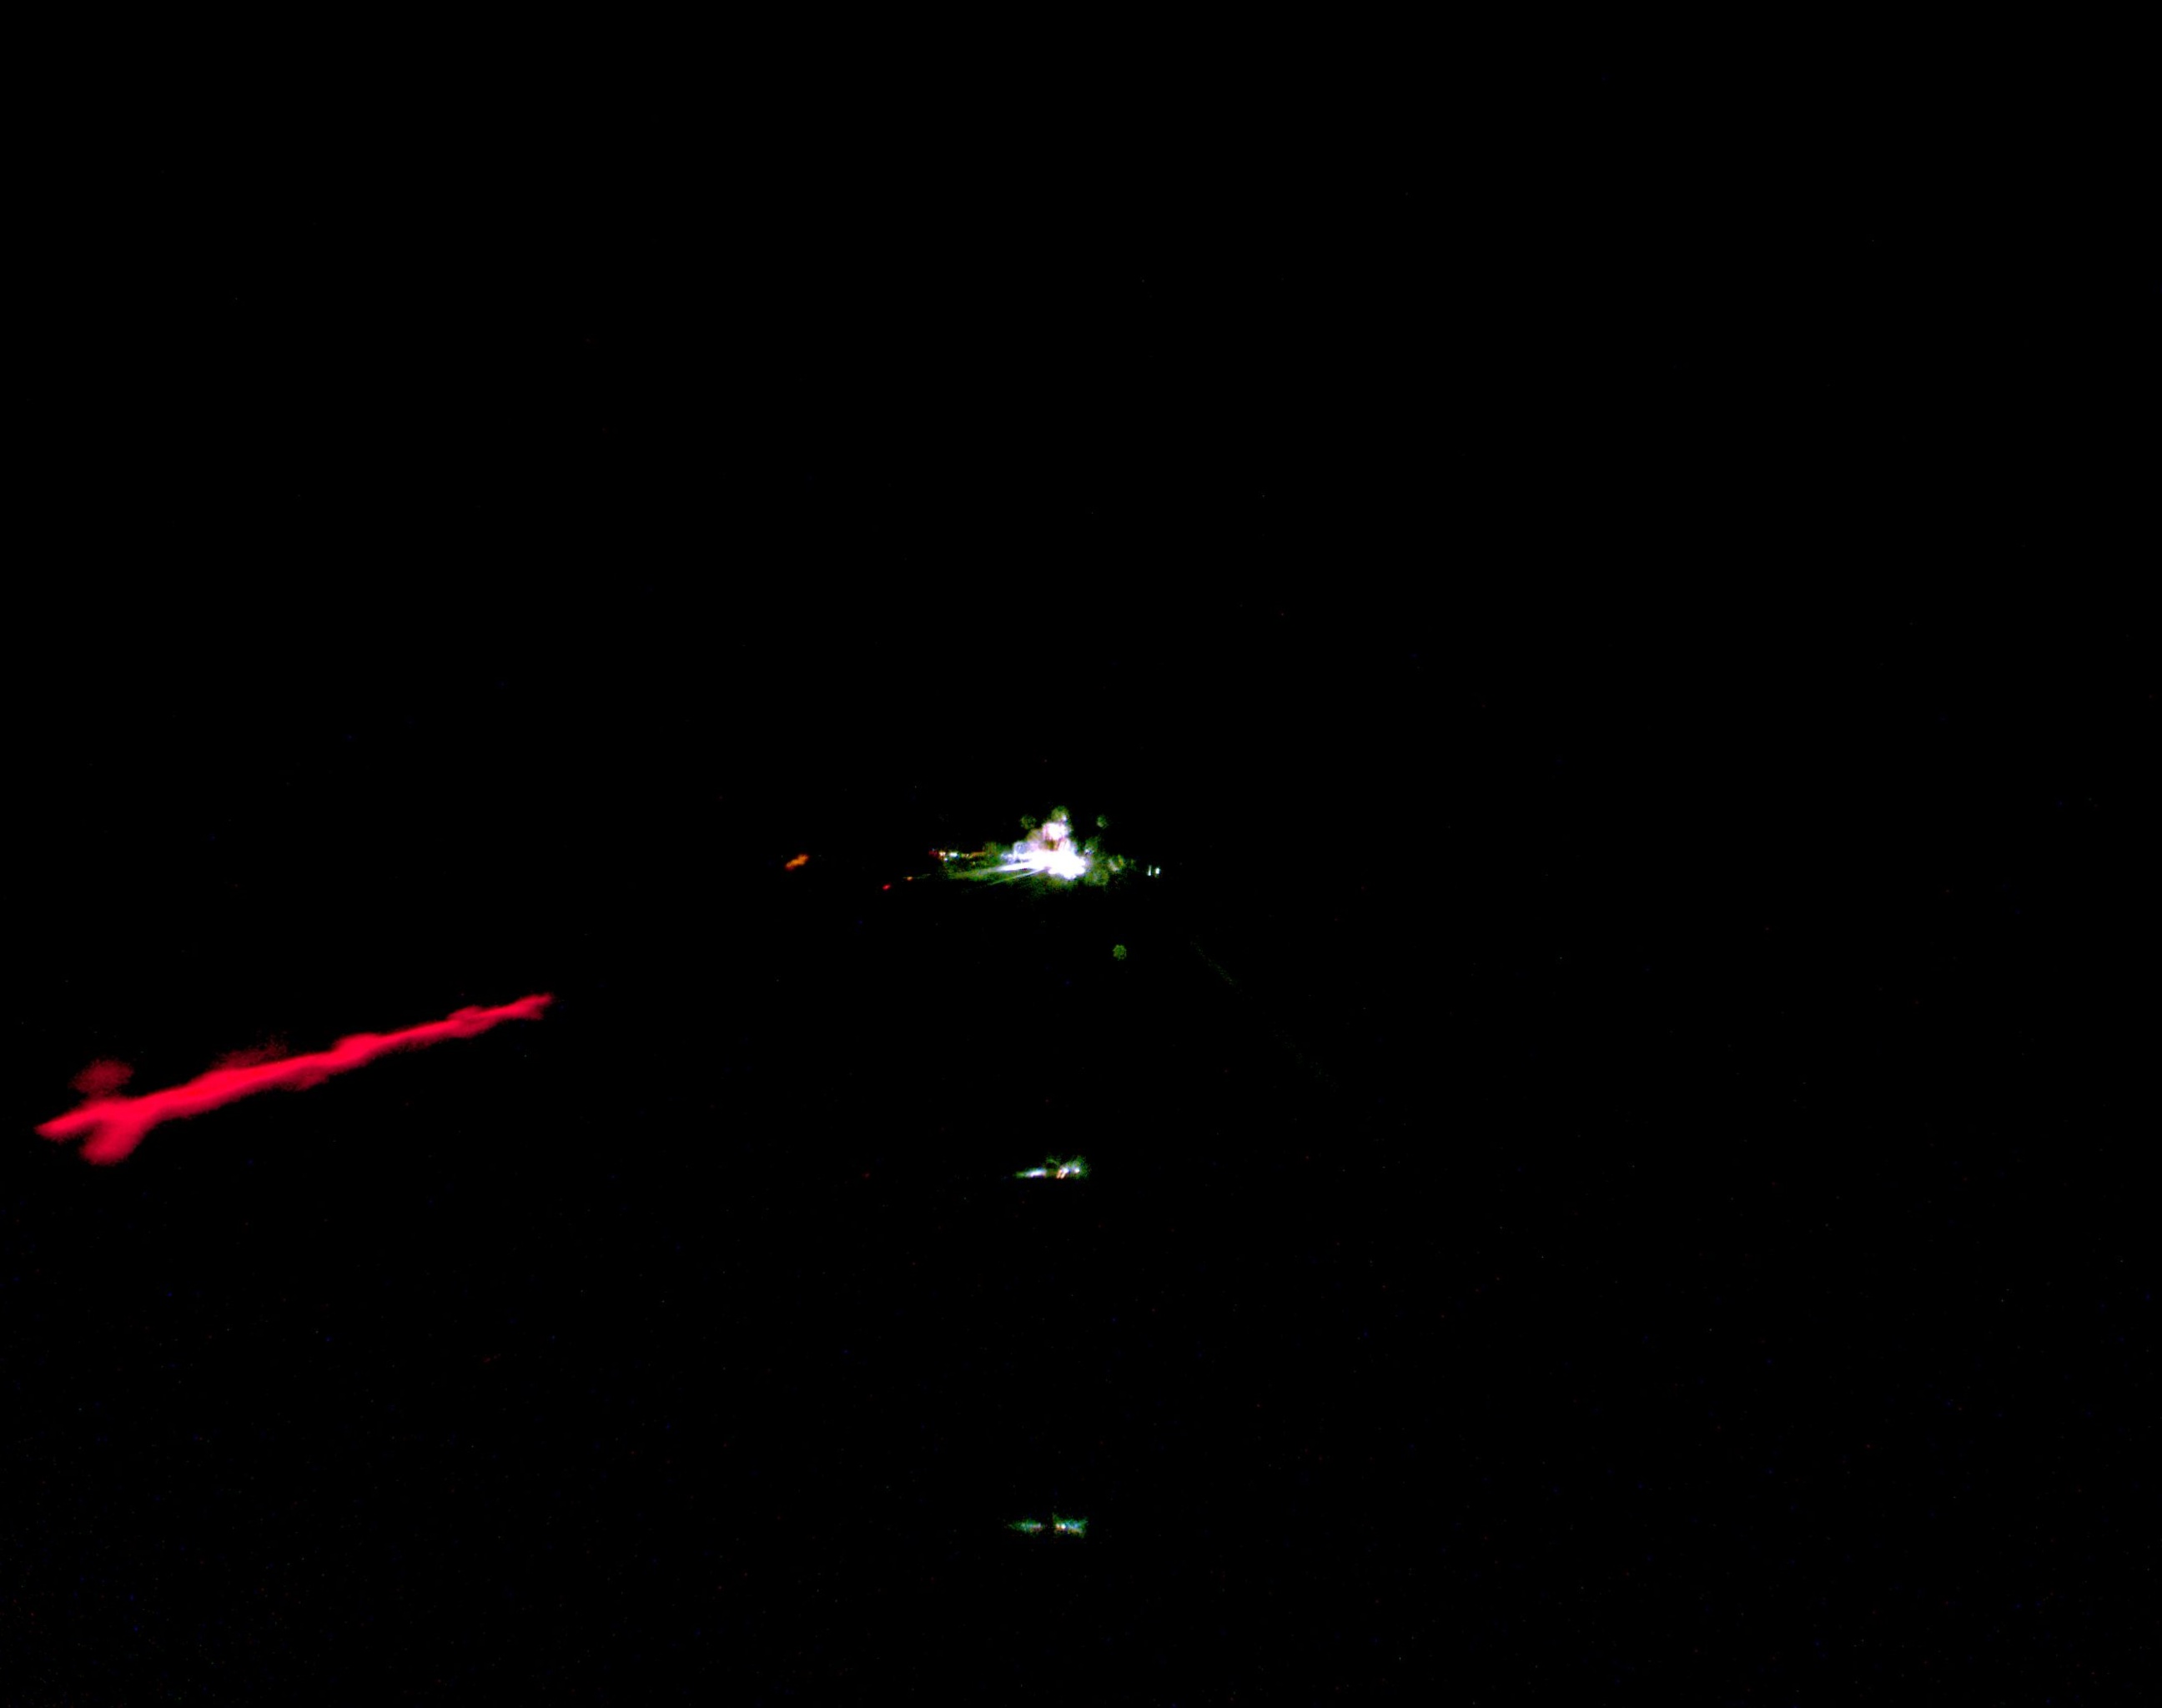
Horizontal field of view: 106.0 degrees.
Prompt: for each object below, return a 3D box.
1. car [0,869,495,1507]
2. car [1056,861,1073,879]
[{"bbox_3d":[-3.464,0.802,1.230,1.861,1.448,4.395,-1,0,2],"label":"car"},{"bbox_3d":[-1.998,1.982,100.447,1.987,2.014,3.998,3,-2,0],"label":"car"}]
